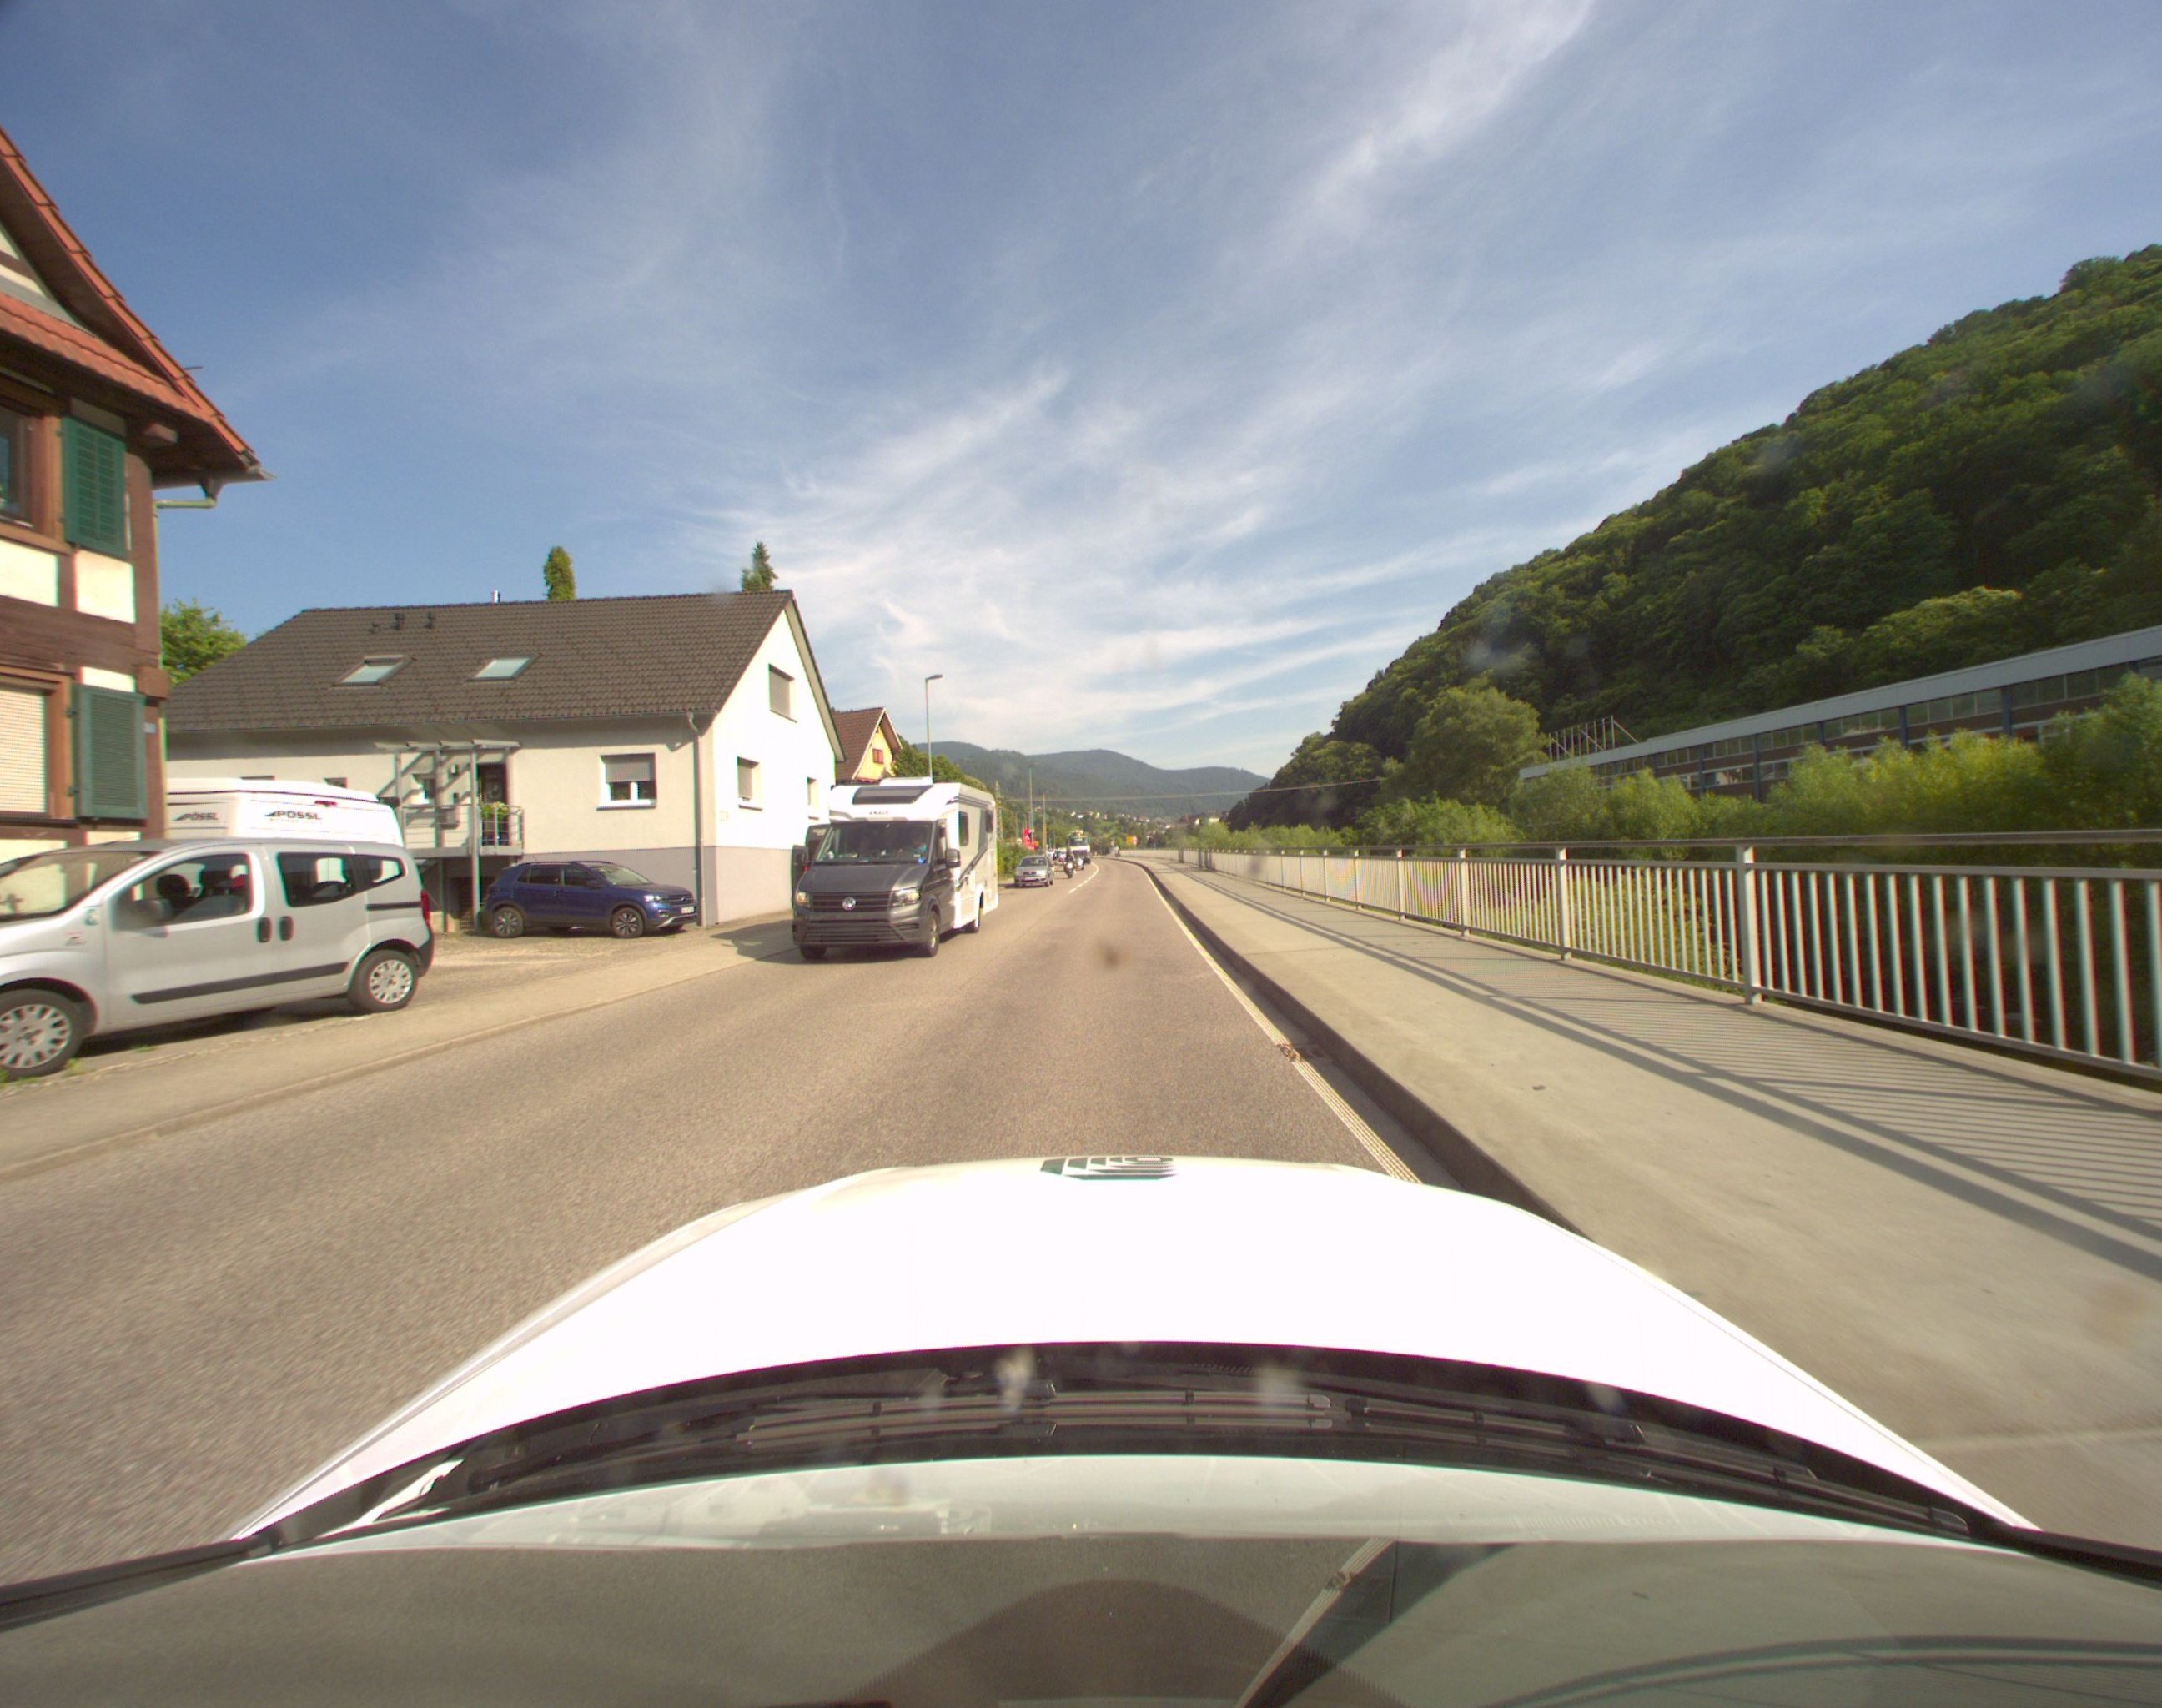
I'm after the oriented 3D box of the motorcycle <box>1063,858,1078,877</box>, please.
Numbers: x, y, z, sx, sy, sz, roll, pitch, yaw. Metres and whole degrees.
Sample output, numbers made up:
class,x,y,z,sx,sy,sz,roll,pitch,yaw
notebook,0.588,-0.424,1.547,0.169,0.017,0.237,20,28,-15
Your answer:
class,x,y,z,sx,sy,sz,roll,pitch,yaw
motorcycle,-0.608,0.815,49.180,0.651,1.068,2.185,-3,0,5

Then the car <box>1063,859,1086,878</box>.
class,x,y,z,sx,sy,sz,roll,pitch,yaw
car,-0.524,1.202,68.809,1.706,1.403,4.003,-2,0,3

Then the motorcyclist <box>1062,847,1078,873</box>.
class,x,y,z,sx,sy,sz,roll,pitch,yaw
motorcyclist,-0.686,0.374,49.327,0.821,1.558,0.629,-3,-1,6

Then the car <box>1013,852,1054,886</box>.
class,x,y,z,sx,sy,sz,roll,pitch,yaw
car,-2.214,0.682,38.846,1.624,1.485,4.001,-2,0,1

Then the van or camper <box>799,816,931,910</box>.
class,x,y,z,sx,sy,sz,roll,pitch,yaw
van or camper,-6.638,0.241,25.876,2.138,2.555,5.908,-2,0,4

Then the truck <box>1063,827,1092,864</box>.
class,x,y,z,sx,sy,sz,roll,pitch,yaw
truck,-0.485,-0.899,95.397,2.572,3.931,11.292,-3,0,-3

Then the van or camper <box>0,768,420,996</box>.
class,x,y,z,sx,sy,sz,roll,pitch,yaw
van or camper,-12.219,0.360,10.999,5.144,2.663,2.198,-1,0,9

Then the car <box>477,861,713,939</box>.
class,x,y,z,sx,sy,sz,roll,pitch,yaw
car,-10.300,0.938,17.490,3.903,1.550,1.908,0,0,2

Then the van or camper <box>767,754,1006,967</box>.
class,x,y,z,sx,sy,sz,roll,pitch,yaw
van or camper,-3.065,0.072,14.974,2.186,2.938,7.134,-1,0,4

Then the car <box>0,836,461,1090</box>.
class,x,y,z,sx,sy,sz,roll,pitch,yaw
car,-7.895,0.735,6.767,1.891,1.664,4.275,-1,0,6
